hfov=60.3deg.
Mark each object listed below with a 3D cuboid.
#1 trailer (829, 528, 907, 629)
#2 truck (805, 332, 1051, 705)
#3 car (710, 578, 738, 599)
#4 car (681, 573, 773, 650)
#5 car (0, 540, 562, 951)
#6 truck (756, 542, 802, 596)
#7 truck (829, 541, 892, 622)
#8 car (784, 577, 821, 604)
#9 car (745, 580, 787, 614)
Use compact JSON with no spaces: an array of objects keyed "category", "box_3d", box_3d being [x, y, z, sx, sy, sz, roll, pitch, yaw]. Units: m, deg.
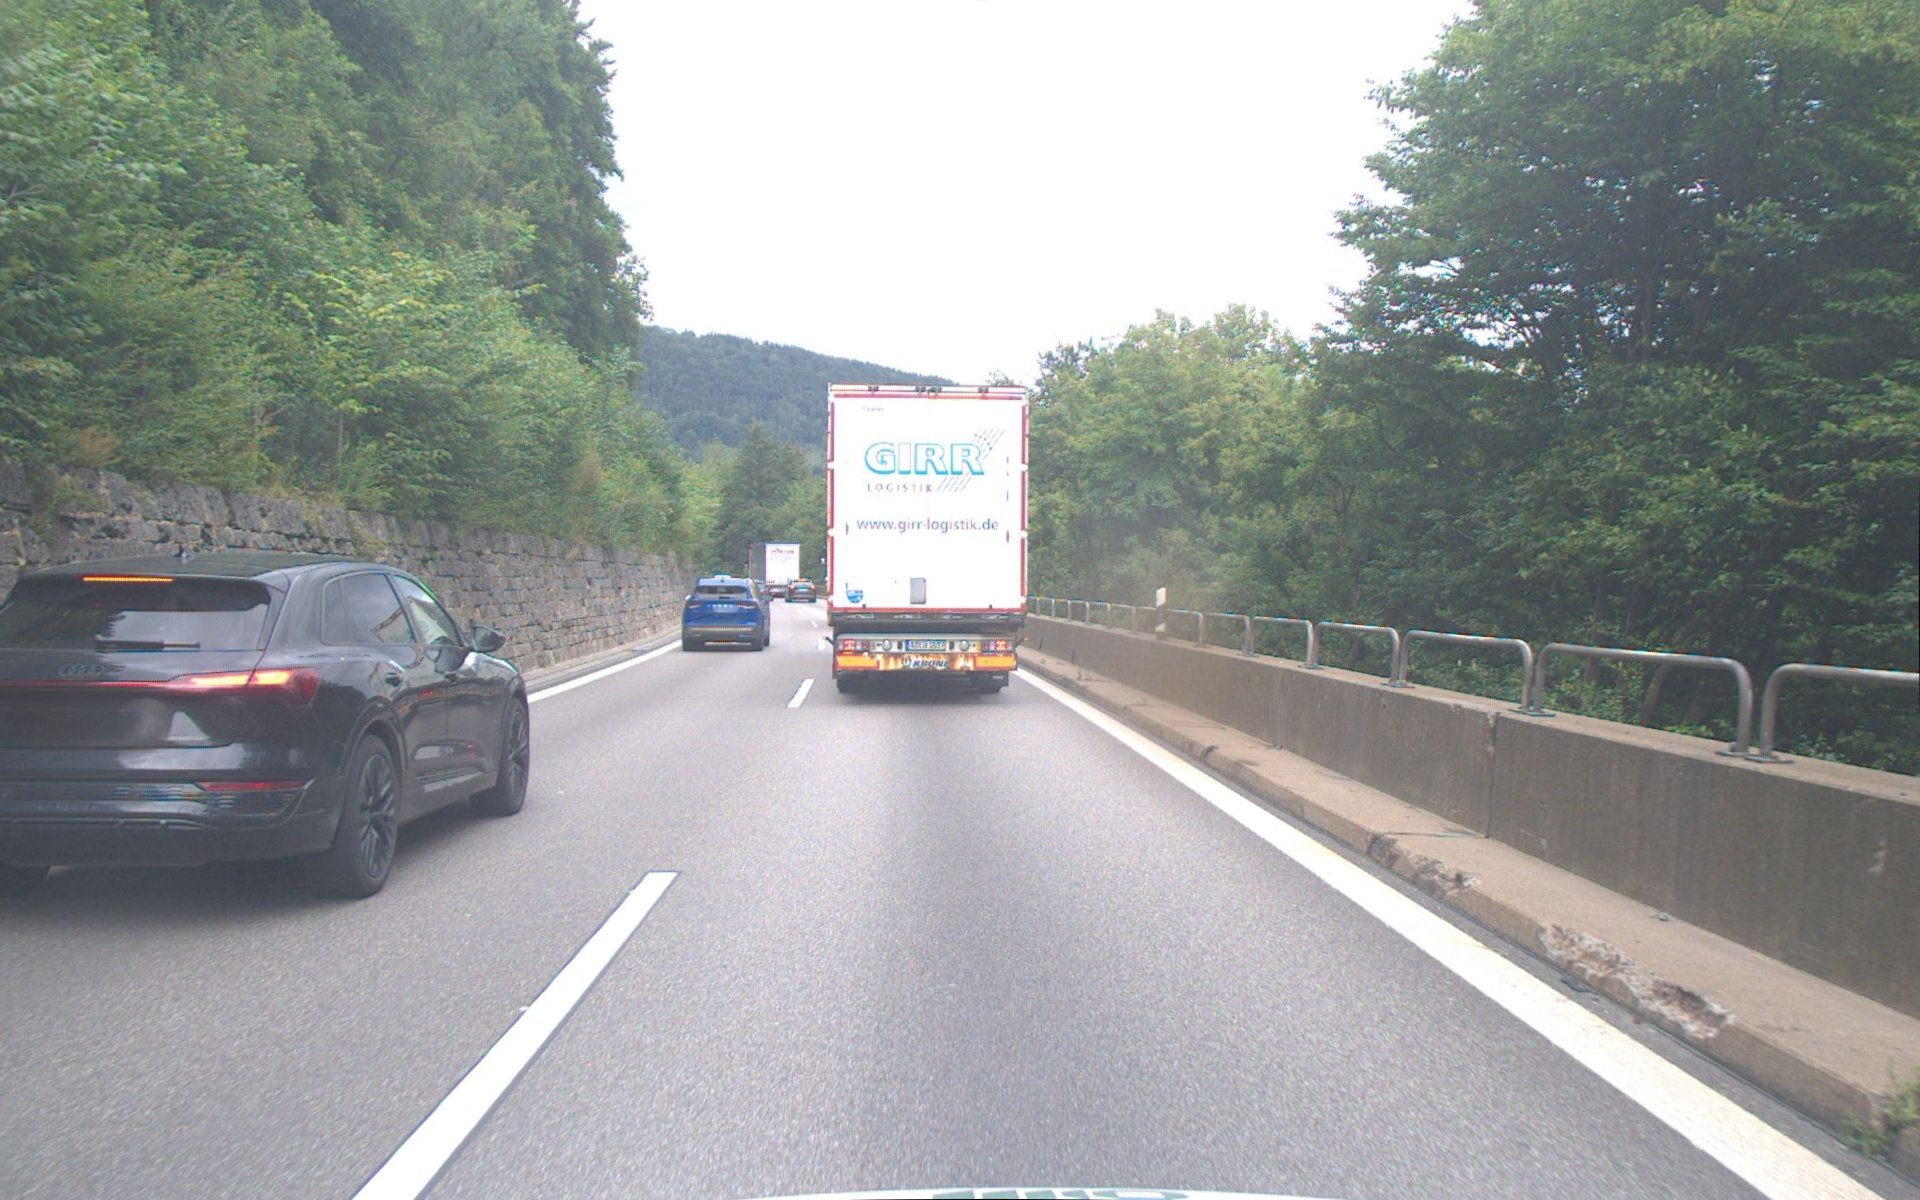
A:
[{"category":"trailer","box_3d":[-3.293,-0.697,56.985,2.169,3.101,11.126,1,0,-6]},{"category":"truck","box_3d":[-0.912,-1.067,27.854,3.024,4.542,15.143,0,1,-4]},{"category":"car","box_3d":[-18.292,-0.890,128.055,1.863,1.577,4.237,1,1,-12]},{"category":"car","box_3d":[-5.347,0.256,38.521,1.955,1.660,5.001,0,0,-6]},{"category":"car","box_3d":[-3.702,0.577,9.210,1.954,1.660,5.006,1,0,-3]},{"category":"truck","box_3d":[-13.914,-2.343,126.622,2.587,3.925,12.327,0,1,-11]},{"category":"truck","box_3d":[-3.795,-0.675,62.463,2.166,2.901,4.999,1,0,-5]},{"category":"car","box_3d":[-10.002,-0.617,104.704,2.023,1.683,3.991,0,1,-10]},{"category":"car","box_3d":[-9.644,-0.177,82.021,1.956,1.624,4.346,1,0,-8]}]
